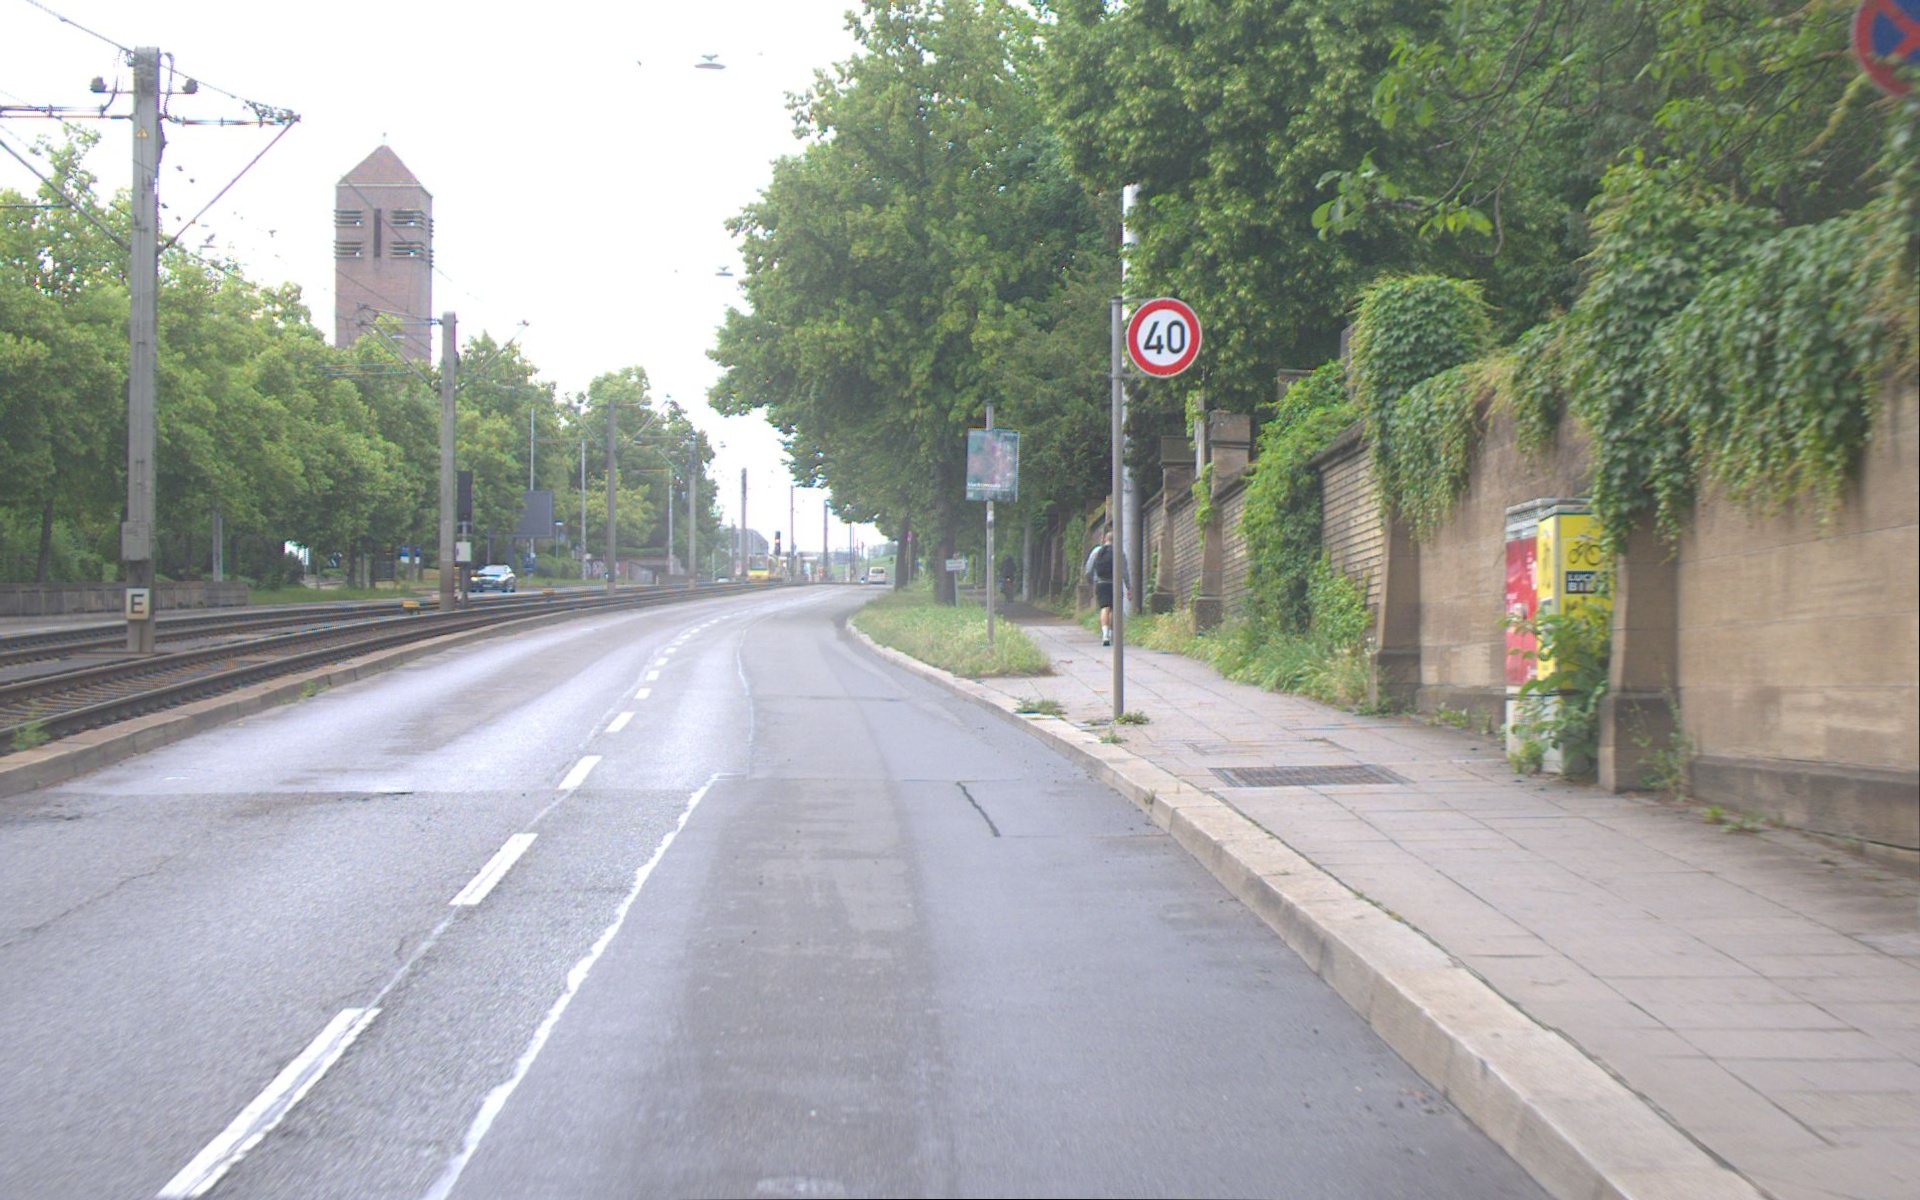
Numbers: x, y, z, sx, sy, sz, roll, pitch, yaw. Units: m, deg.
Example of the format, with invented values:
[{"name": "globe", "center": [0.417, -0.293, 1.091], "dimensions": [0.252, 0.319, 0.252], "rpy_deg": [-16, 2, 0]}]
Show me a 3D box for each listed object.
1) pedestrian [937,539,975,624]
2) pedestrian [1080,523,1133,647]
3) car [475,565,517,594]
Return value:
[{"name": "pedestrian", "center": [-0.077, -0.368, 69.214], "dimensions": [0.719, 1.681, 0.729], "rpy_deg": [1, 0, -1]}, {"name": "pedestrian", "center": [2.199, -0.226, 51.779], "dimensions": [0.719, 1.843, 0.783], "rpy_deg": [1, 0, -1]}, {"name": "car", "center": [-24.743, -1.111, 183.285], "dimensions": [1.794, 1.505, 3.849], "rpy_deg": [0, 1, -1]}]
